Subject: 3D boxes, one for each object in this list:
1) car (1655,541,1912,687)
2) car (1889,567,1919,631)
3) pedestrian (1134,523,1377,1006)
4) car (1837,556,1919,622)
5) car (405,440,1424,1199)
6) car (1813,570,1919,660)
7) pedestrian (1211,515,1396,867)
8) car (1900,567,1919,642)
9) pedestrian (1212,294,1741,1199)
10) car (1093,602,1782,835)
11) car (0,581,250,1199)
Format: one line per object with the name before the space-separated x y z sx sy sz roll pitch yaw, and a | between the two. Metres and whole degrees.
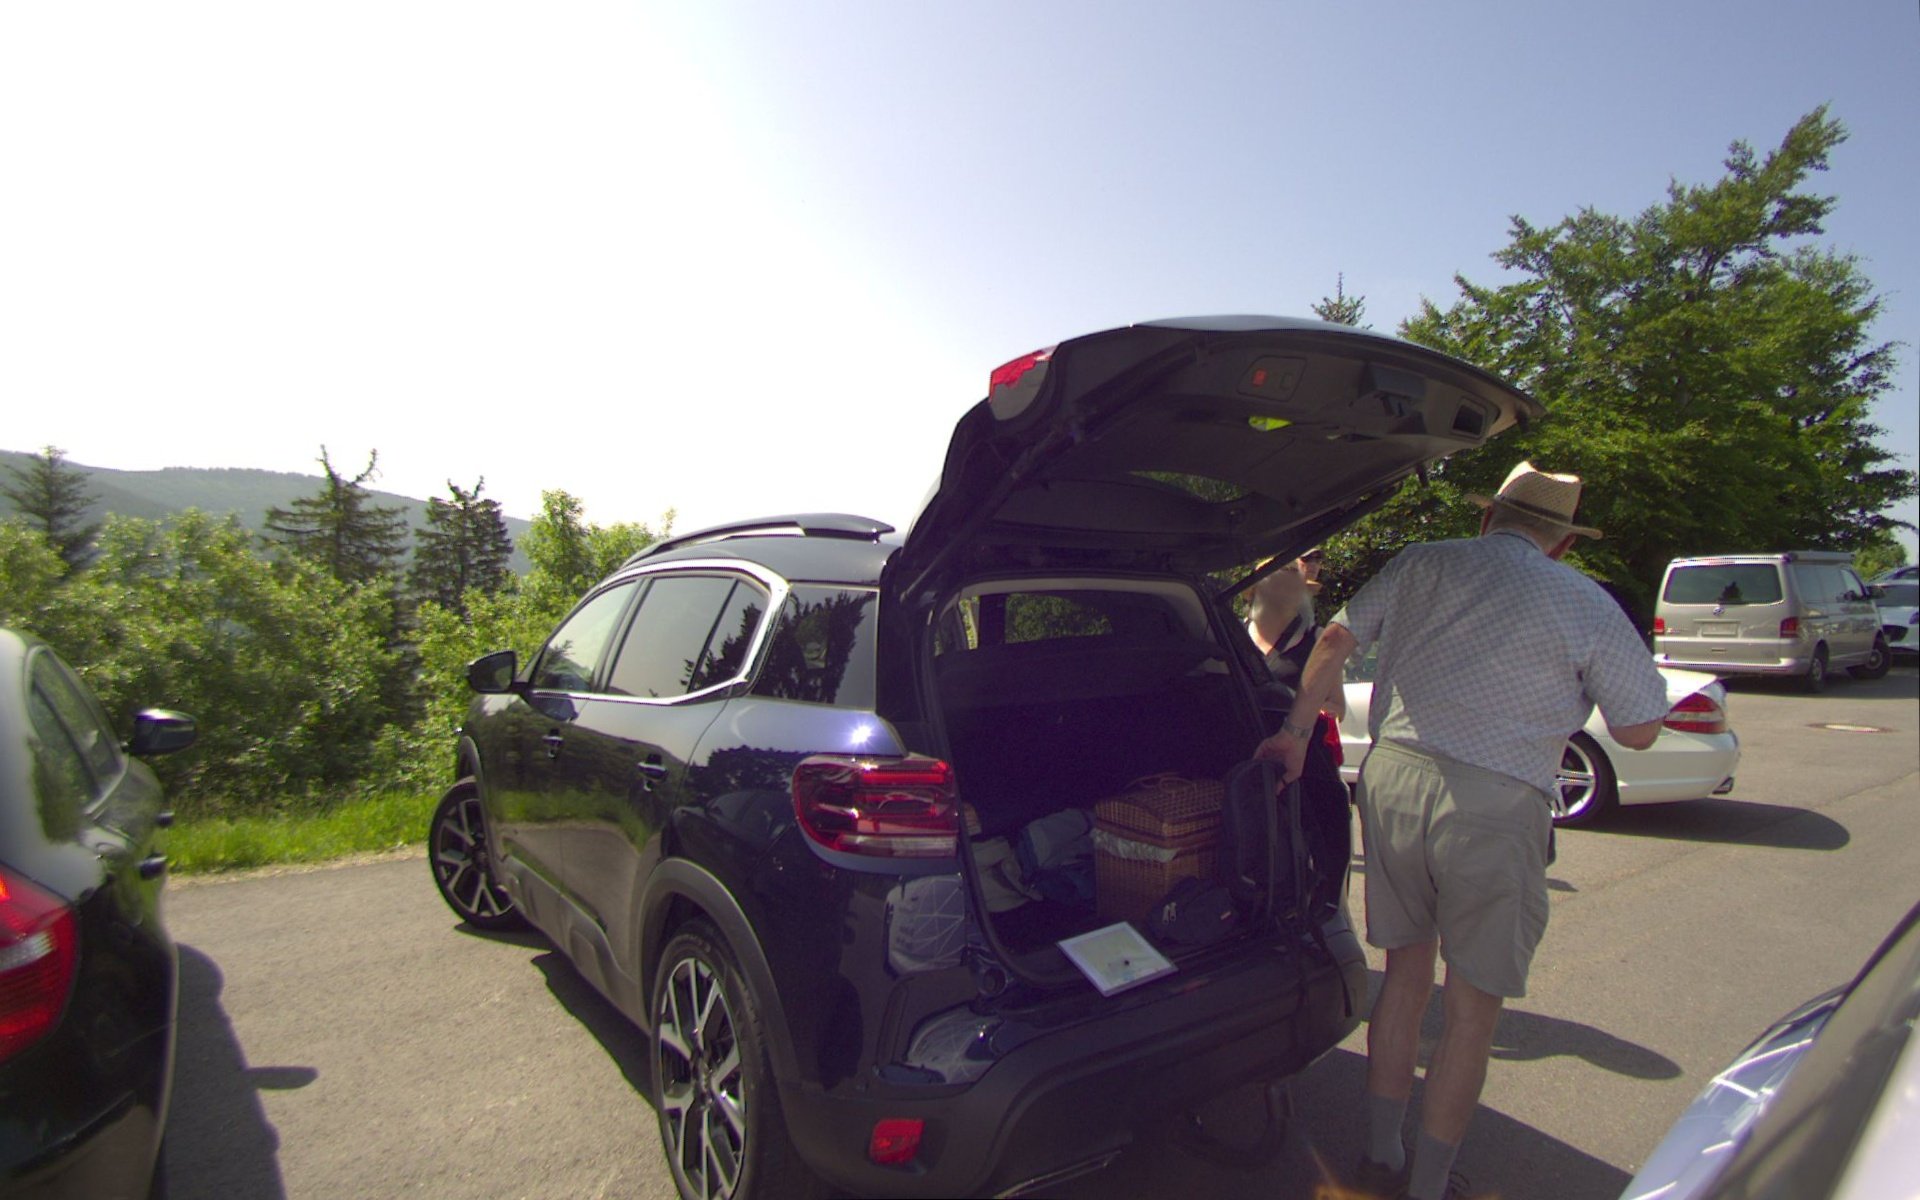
car | 12.785 0.169 15.634 4.521 1.960 1.863 -1 0 -34
car | 26.242 -0.049 25.448 3.971 1.639 1.854 0 0 34
pedestrian | 1.116 0.545 3.863 0.527 1.633 0.715 -1 1 -39
car | 29.565 -0.348 30.563 4.429 1.949 1.854 0 0 34
car | -0.805 0.578 3.891 1.835 1.647 4.357 -1 0 -35
car | 17.824 0.226 19.105 3.927 1.566 1.875 -1 1 -38
pedestrian | 1.952 0.458 5.746 0.736 1.822 0.734 -2 1 -43
car | 22.765 0.064 22.696 3.927 1.639 1.875 -1 1 -38
pedestrian | 1.134 0.413 2.285 0.722 1.895 0.759 2 -1 -31
car | 3.361 0.681 7.722 4.385 1.312 1.733 0 0 36
car | -3.018 0.667 2.613 1.672 1.394 4.090 -1 1 -39
